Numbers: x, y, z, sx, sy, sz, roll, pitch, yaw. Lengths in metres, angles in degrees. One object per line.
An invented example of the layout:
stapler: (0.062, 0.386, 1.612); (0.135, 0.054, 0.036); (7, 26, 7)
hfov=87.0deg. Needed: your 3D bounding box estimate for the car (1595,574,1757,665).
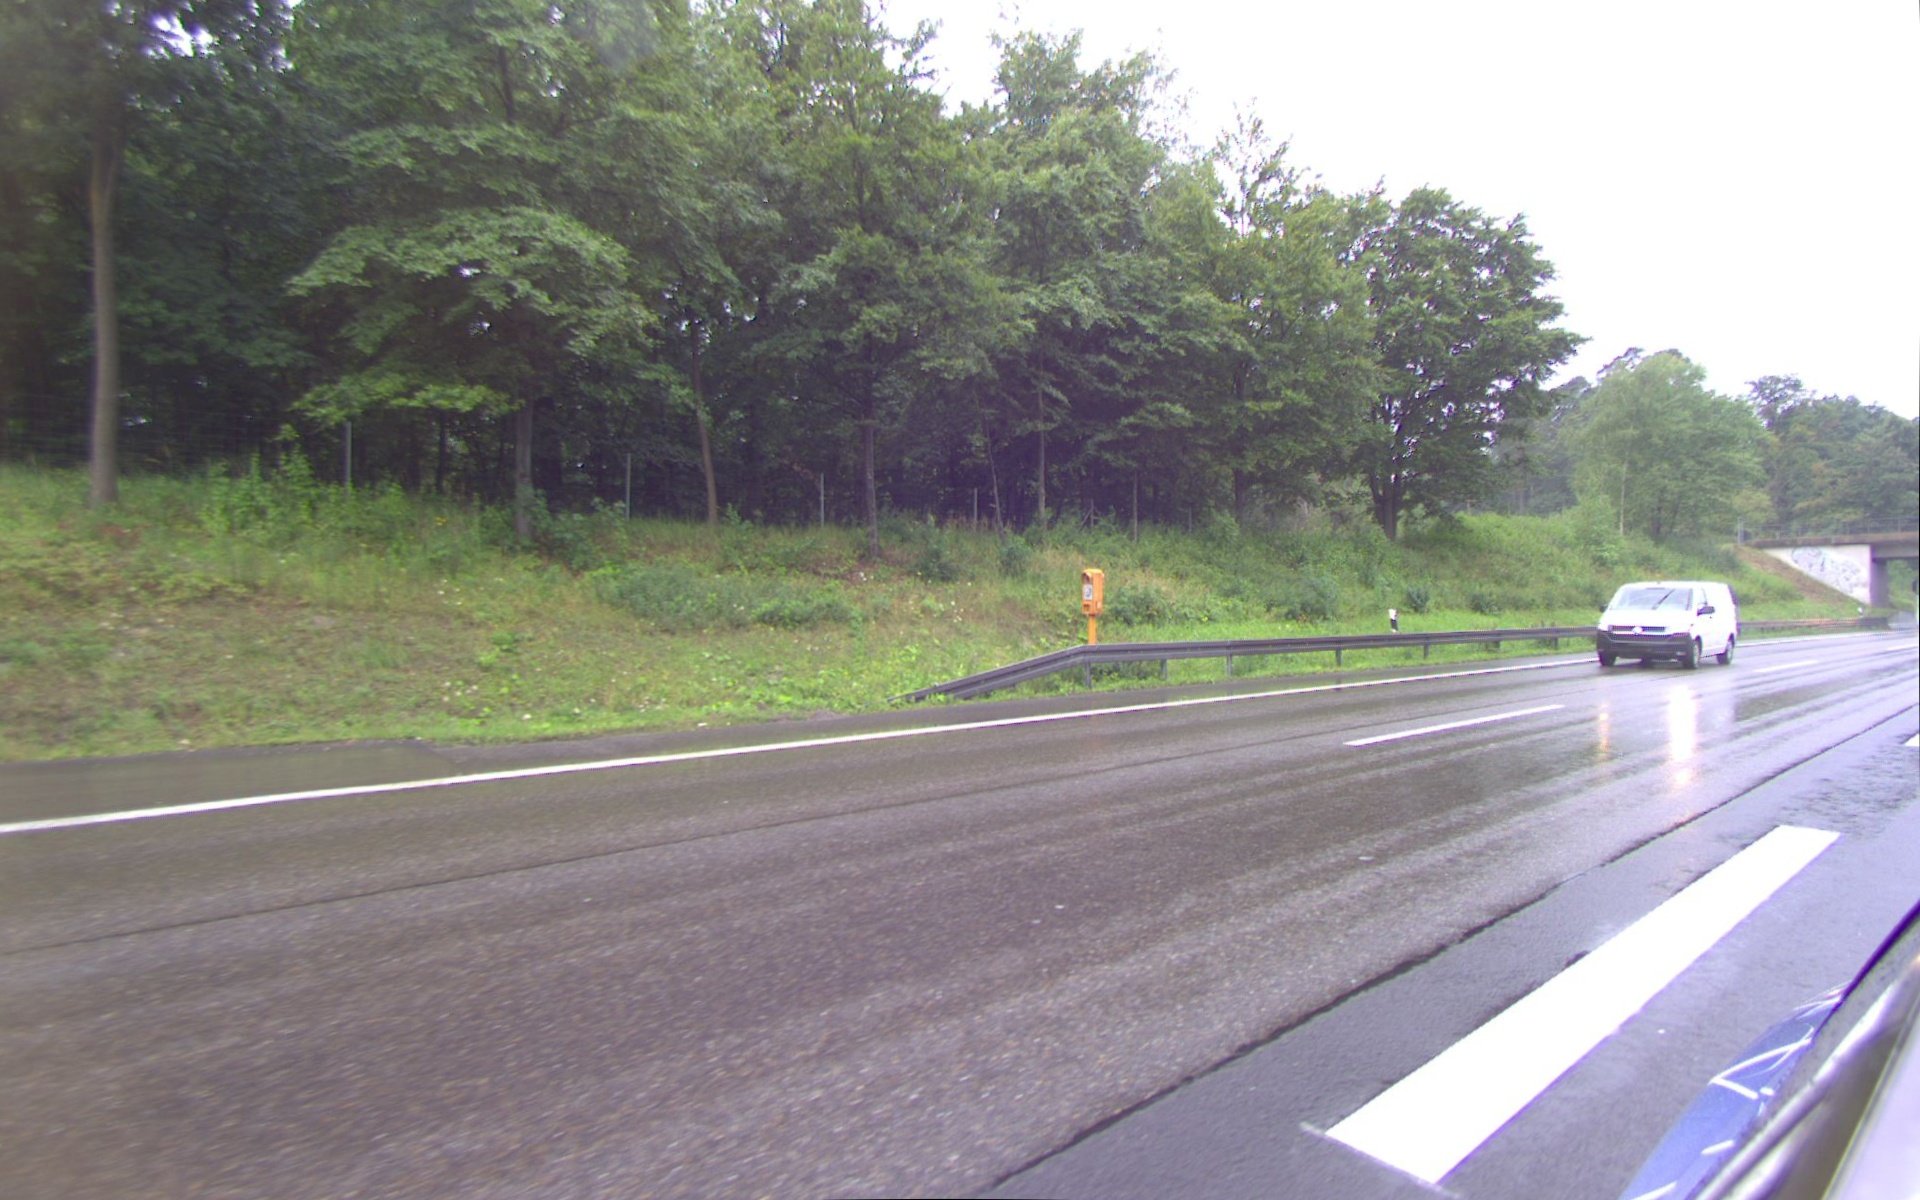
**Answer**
car: (16.925, 0.413, 23.831); (4.682, 1.945, 1.994); (0, 0, -40)
